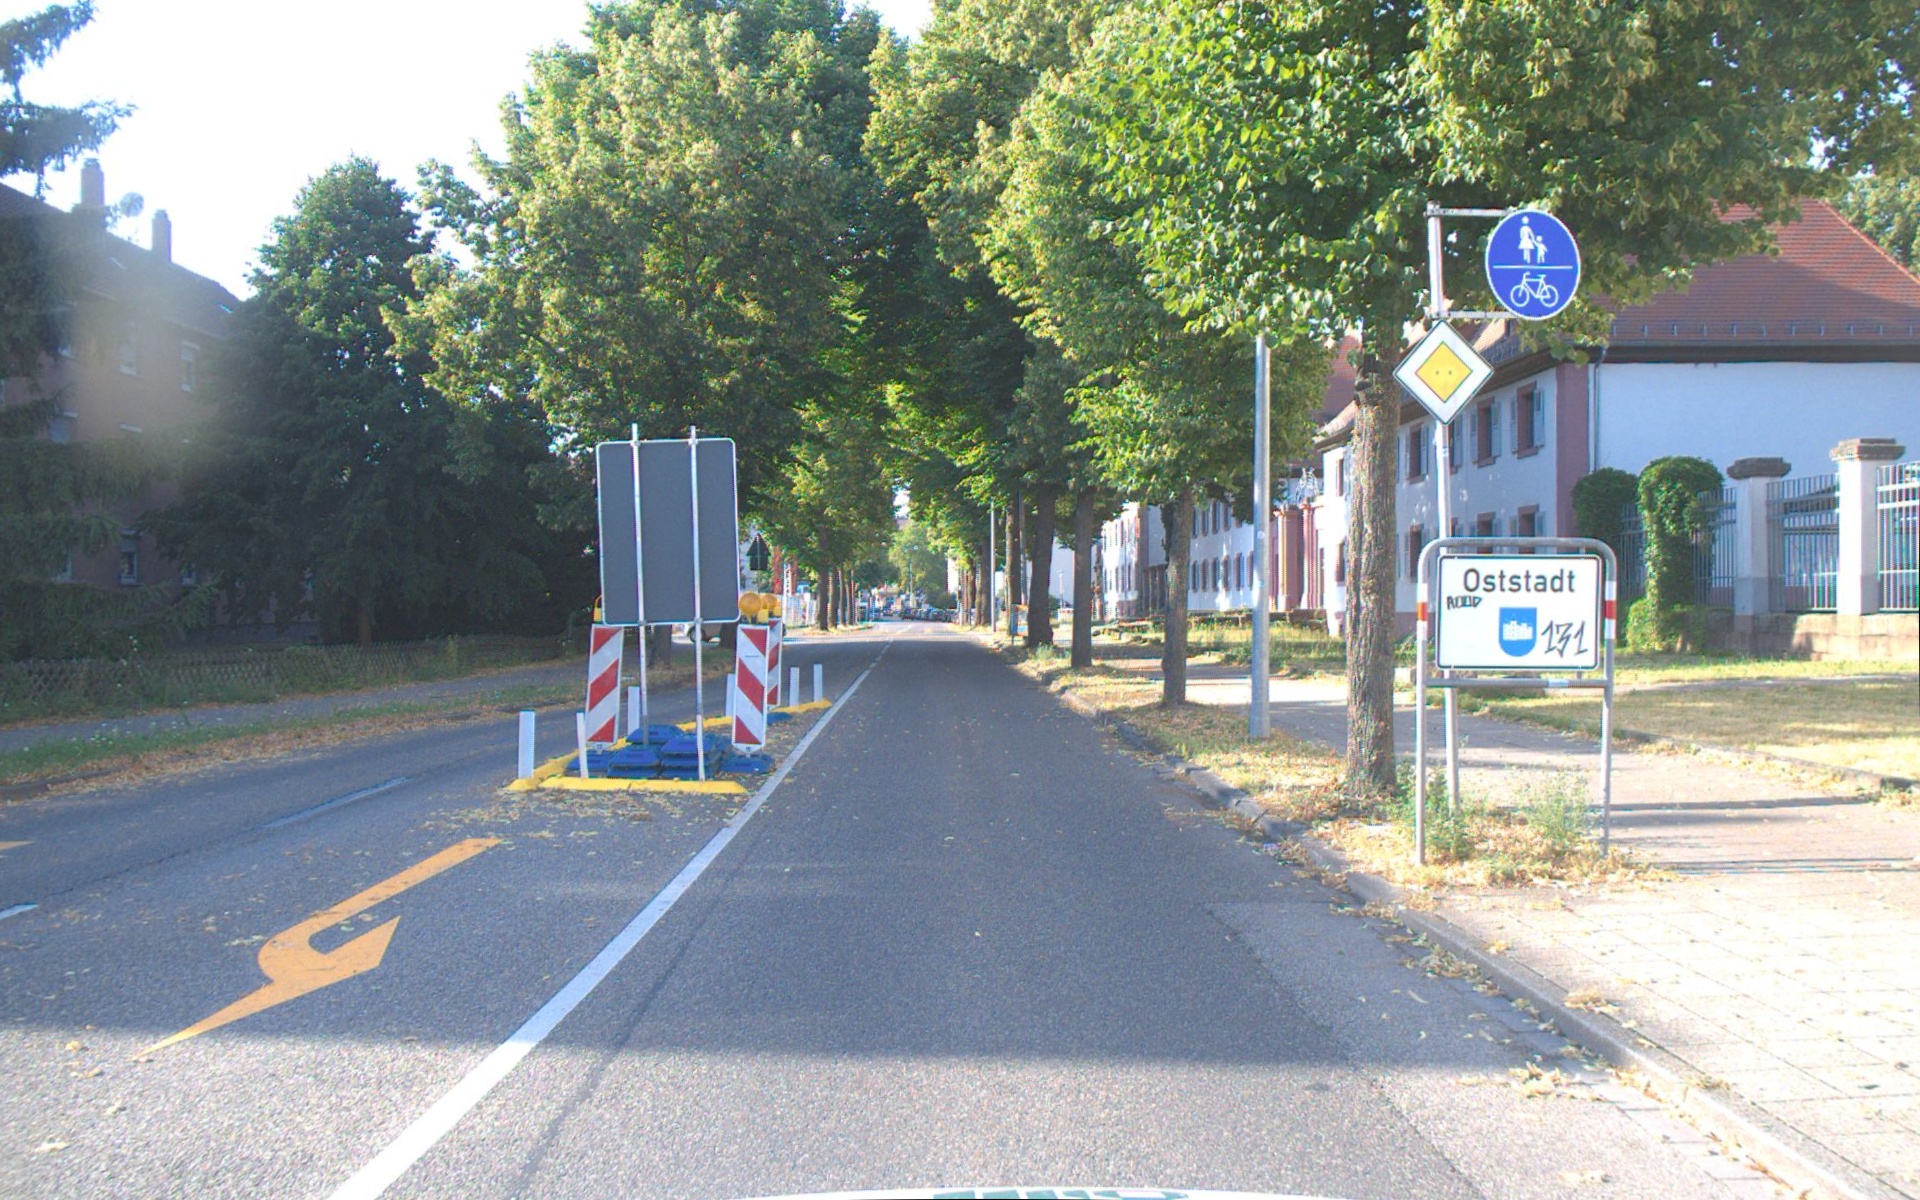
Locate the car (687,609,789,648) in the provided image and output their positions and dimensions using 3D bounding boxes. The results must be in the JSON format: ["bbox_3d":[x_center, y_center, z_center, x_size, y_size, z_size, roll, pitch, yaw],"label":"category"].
[{"bbox_3d":[-8.670,1.106,64.739,3.764,1.499,1.651,0,0,1],"label":"car"}]

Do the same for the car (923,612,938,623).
[{"bbox_3d":[-4.151,2.470,229.257,1.805,1.410,3.996,-1,-1,-5],"label":"car"}]

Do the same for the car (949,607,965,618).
[{"bbox_3d":[-0.287,1.500,193.615,1.803,1.283,4.000,0,0,1],"label":"car"}]

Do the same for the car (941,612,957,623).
[{"bbox_3d":[-1.320,2.098,200.288,1.804,1.283,3.998,-1,-1,-2],"label":"car"}]

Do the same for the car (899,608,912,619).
[{"bbox_3d":[-7.853,2.016,238.569,1.681,1.512,3.996,-2,-1,-5],"label":"car"}]

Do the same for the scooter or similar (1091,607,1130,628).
[{"bbox_3d":[5.376,0.628,59.080,1.202,0.557,1.063,-9,0,-2],"label":"scooter or similar"}]

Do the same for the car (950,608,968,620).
[{"bbox_3d":[-0.105,1.538,182.881,1.804,1.283,3.998,-1,-1,-2],"label":"car"}]

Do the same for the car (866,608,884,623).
[{"bbox_3d":[-10.593,1.960,205.060,1.955,1.717,3.994,-1,-1,-7],"label":"car"}]
